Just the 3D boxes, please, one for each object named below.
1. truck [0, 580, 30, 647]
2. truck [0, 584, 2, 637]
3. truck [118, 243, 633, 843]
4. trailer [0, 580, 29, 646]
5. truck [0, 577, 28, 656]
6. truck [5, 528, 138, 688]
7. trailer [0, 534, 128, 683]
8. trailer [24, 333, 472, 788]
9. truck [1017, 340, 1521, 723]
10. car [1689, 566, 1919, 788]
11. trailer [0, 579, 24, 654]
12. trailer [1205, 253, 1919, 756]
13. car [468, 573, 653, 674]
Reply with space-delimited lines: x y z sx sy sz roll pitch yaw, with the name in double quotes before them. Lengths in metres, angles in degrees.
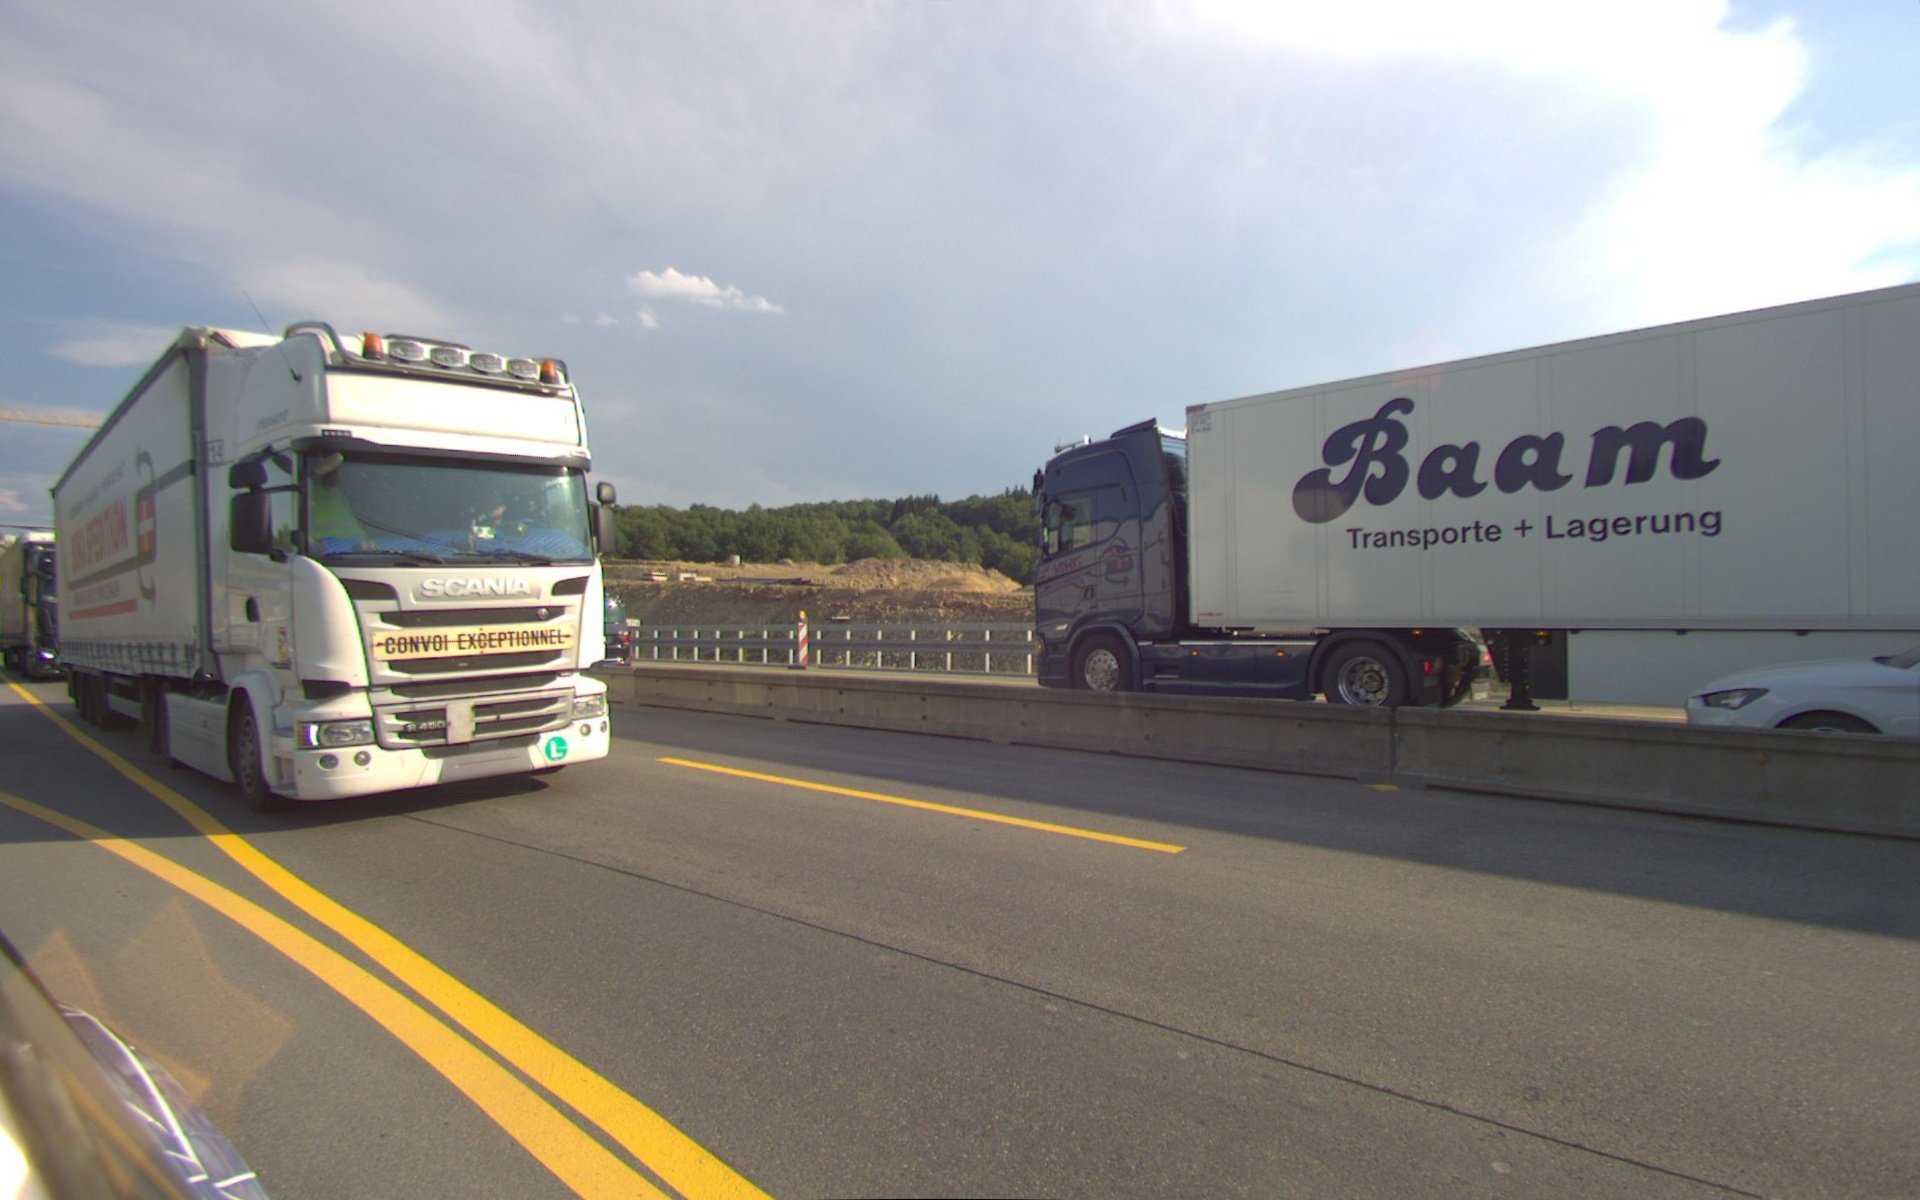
"truck" -64.311 0.896 67.466 3.068 4.347 6.901 2 -3 -45
"truck" -82.026 0.871 84.269 3.068 4.347 6.901 2 -3 -45
"truck" -5.770 -0.343 9.525 6.009 3.908 2.454 -1 -1 42
"trailer" -68.620 0.959 71.838 3.068 4.347 14.260 3 -2 -45
"truck" -50.407 0.858 52.734 6.014 3.931 2.452 -1 -1 45
"truck" -25.389 0.237 28.839 6.014 4.091 2.452 -1 -1 45
"trailer" -30.112 0.307 33.330 13.631 4.092 2.453 -1 -1 43
"trailer" -10.867 -0.269 14.270 13.631 3.908 2.453 -1 -1 43
"truck" 3.943 -0.667 13.924 2.597 4.097 6.133 3 -3 -45
"car" 7.365 0.493 6.265 4.452 1.376 1.887 -1 -2 42
"trailer" -55.942 0.943 58.259 2.452 3.988 13.983 0 -1 -45
"trailer" 9.007 -0.754 8.859 2.597 4.097 14.088 3 -2 -45
"car" -8.961 0.524 22.525 4.491 2.029 1.973 -1 -2 41
